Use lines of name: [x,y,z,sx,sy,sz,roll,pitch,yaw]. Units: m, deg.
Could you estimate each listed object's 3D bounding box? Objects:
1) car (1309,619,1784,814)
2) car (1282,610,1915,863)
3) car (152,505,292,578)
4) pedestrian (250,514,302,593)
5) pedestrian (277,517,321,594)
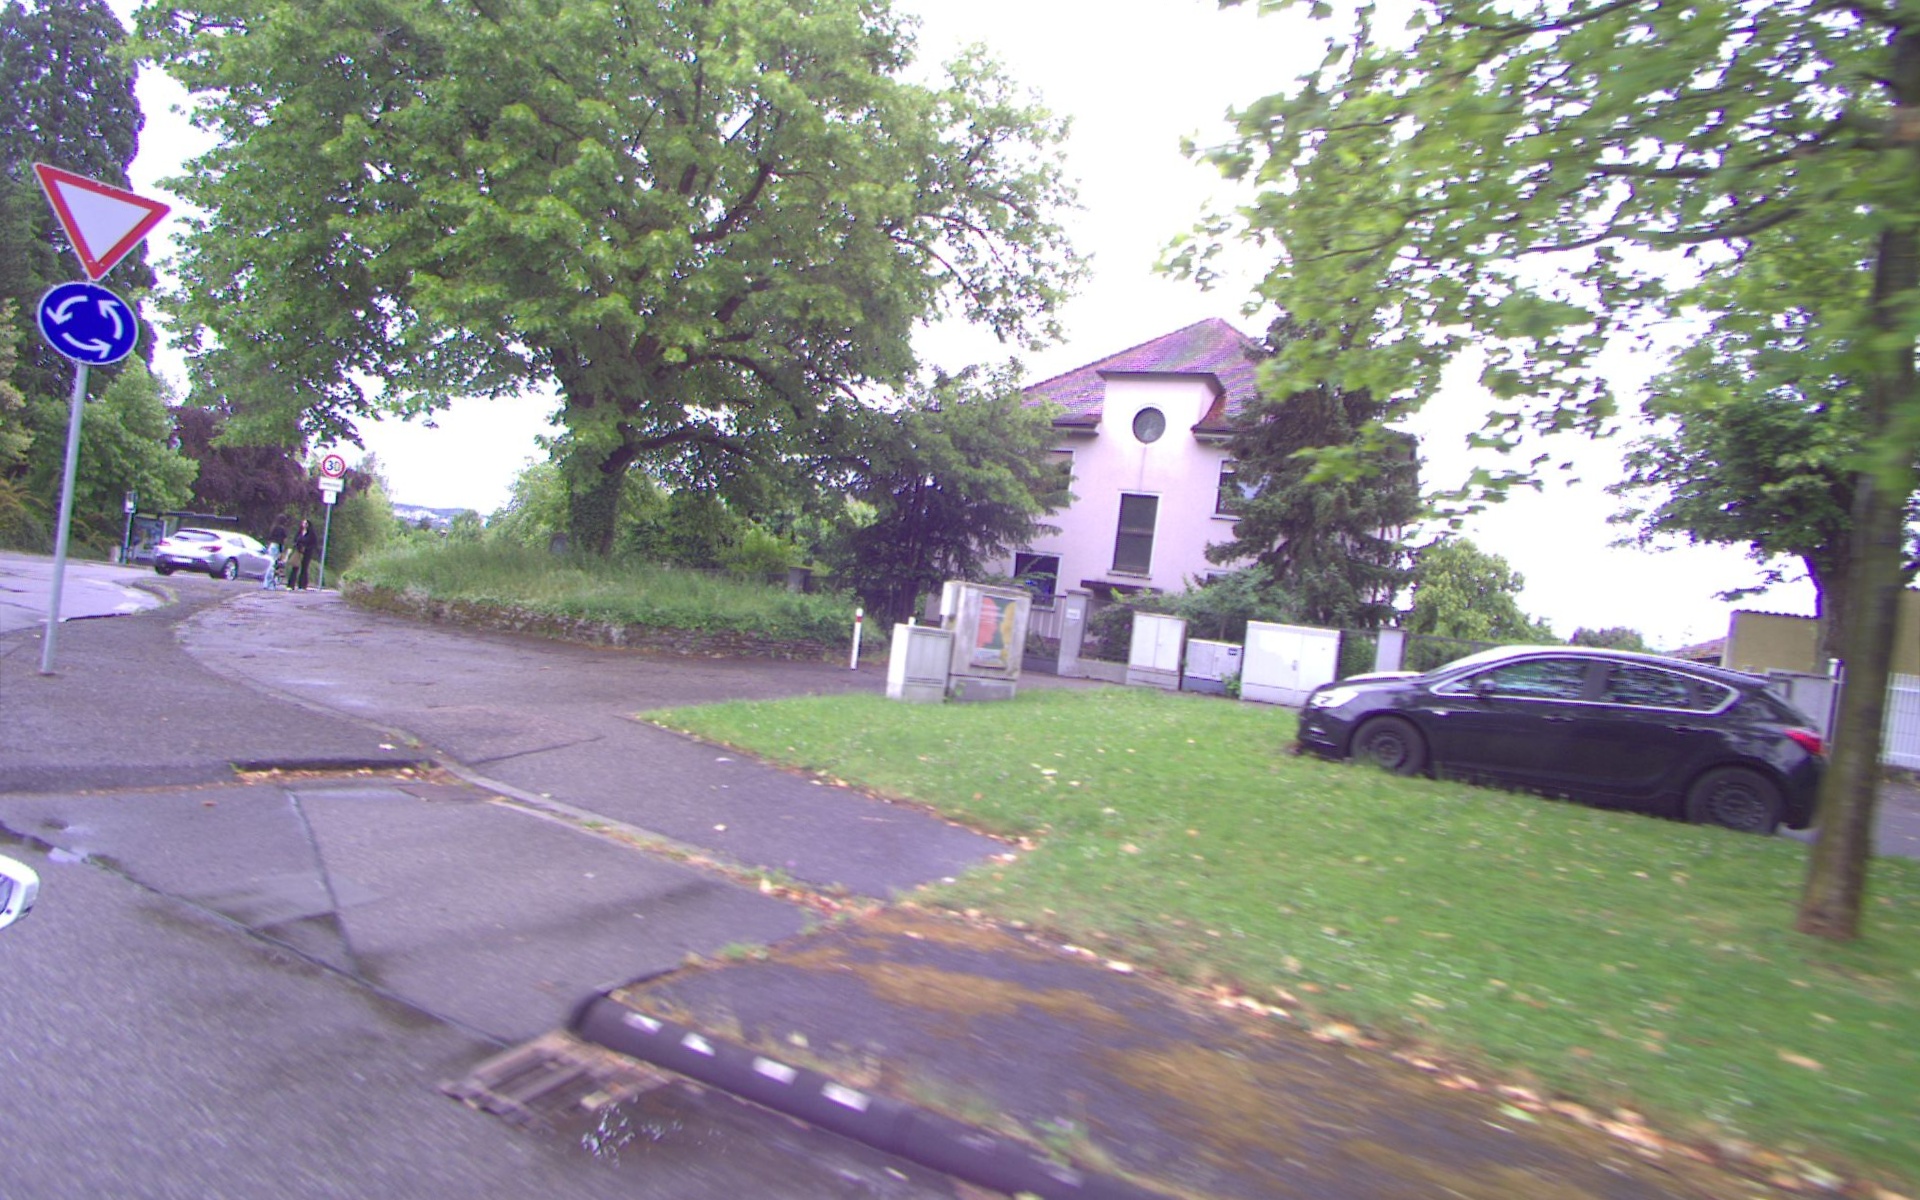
car: [6.560,1.217,11.779,4.349,1.490,1.848,6,1,28]
car: [5.597,1.084,9.500,4.519,1.490,1.766,6,1,29]
car: [-21.824,-1.676,29.961,1.742,1.824,4.234,6,0,-14]
pedestrian: [-15.815,-1.069,23.267,0.624,1.733,0.530,7,-1,15]
pedestrian: [-15.871,-1.067,24.155,0.632,1.733,0.523,8,-1,-44]
